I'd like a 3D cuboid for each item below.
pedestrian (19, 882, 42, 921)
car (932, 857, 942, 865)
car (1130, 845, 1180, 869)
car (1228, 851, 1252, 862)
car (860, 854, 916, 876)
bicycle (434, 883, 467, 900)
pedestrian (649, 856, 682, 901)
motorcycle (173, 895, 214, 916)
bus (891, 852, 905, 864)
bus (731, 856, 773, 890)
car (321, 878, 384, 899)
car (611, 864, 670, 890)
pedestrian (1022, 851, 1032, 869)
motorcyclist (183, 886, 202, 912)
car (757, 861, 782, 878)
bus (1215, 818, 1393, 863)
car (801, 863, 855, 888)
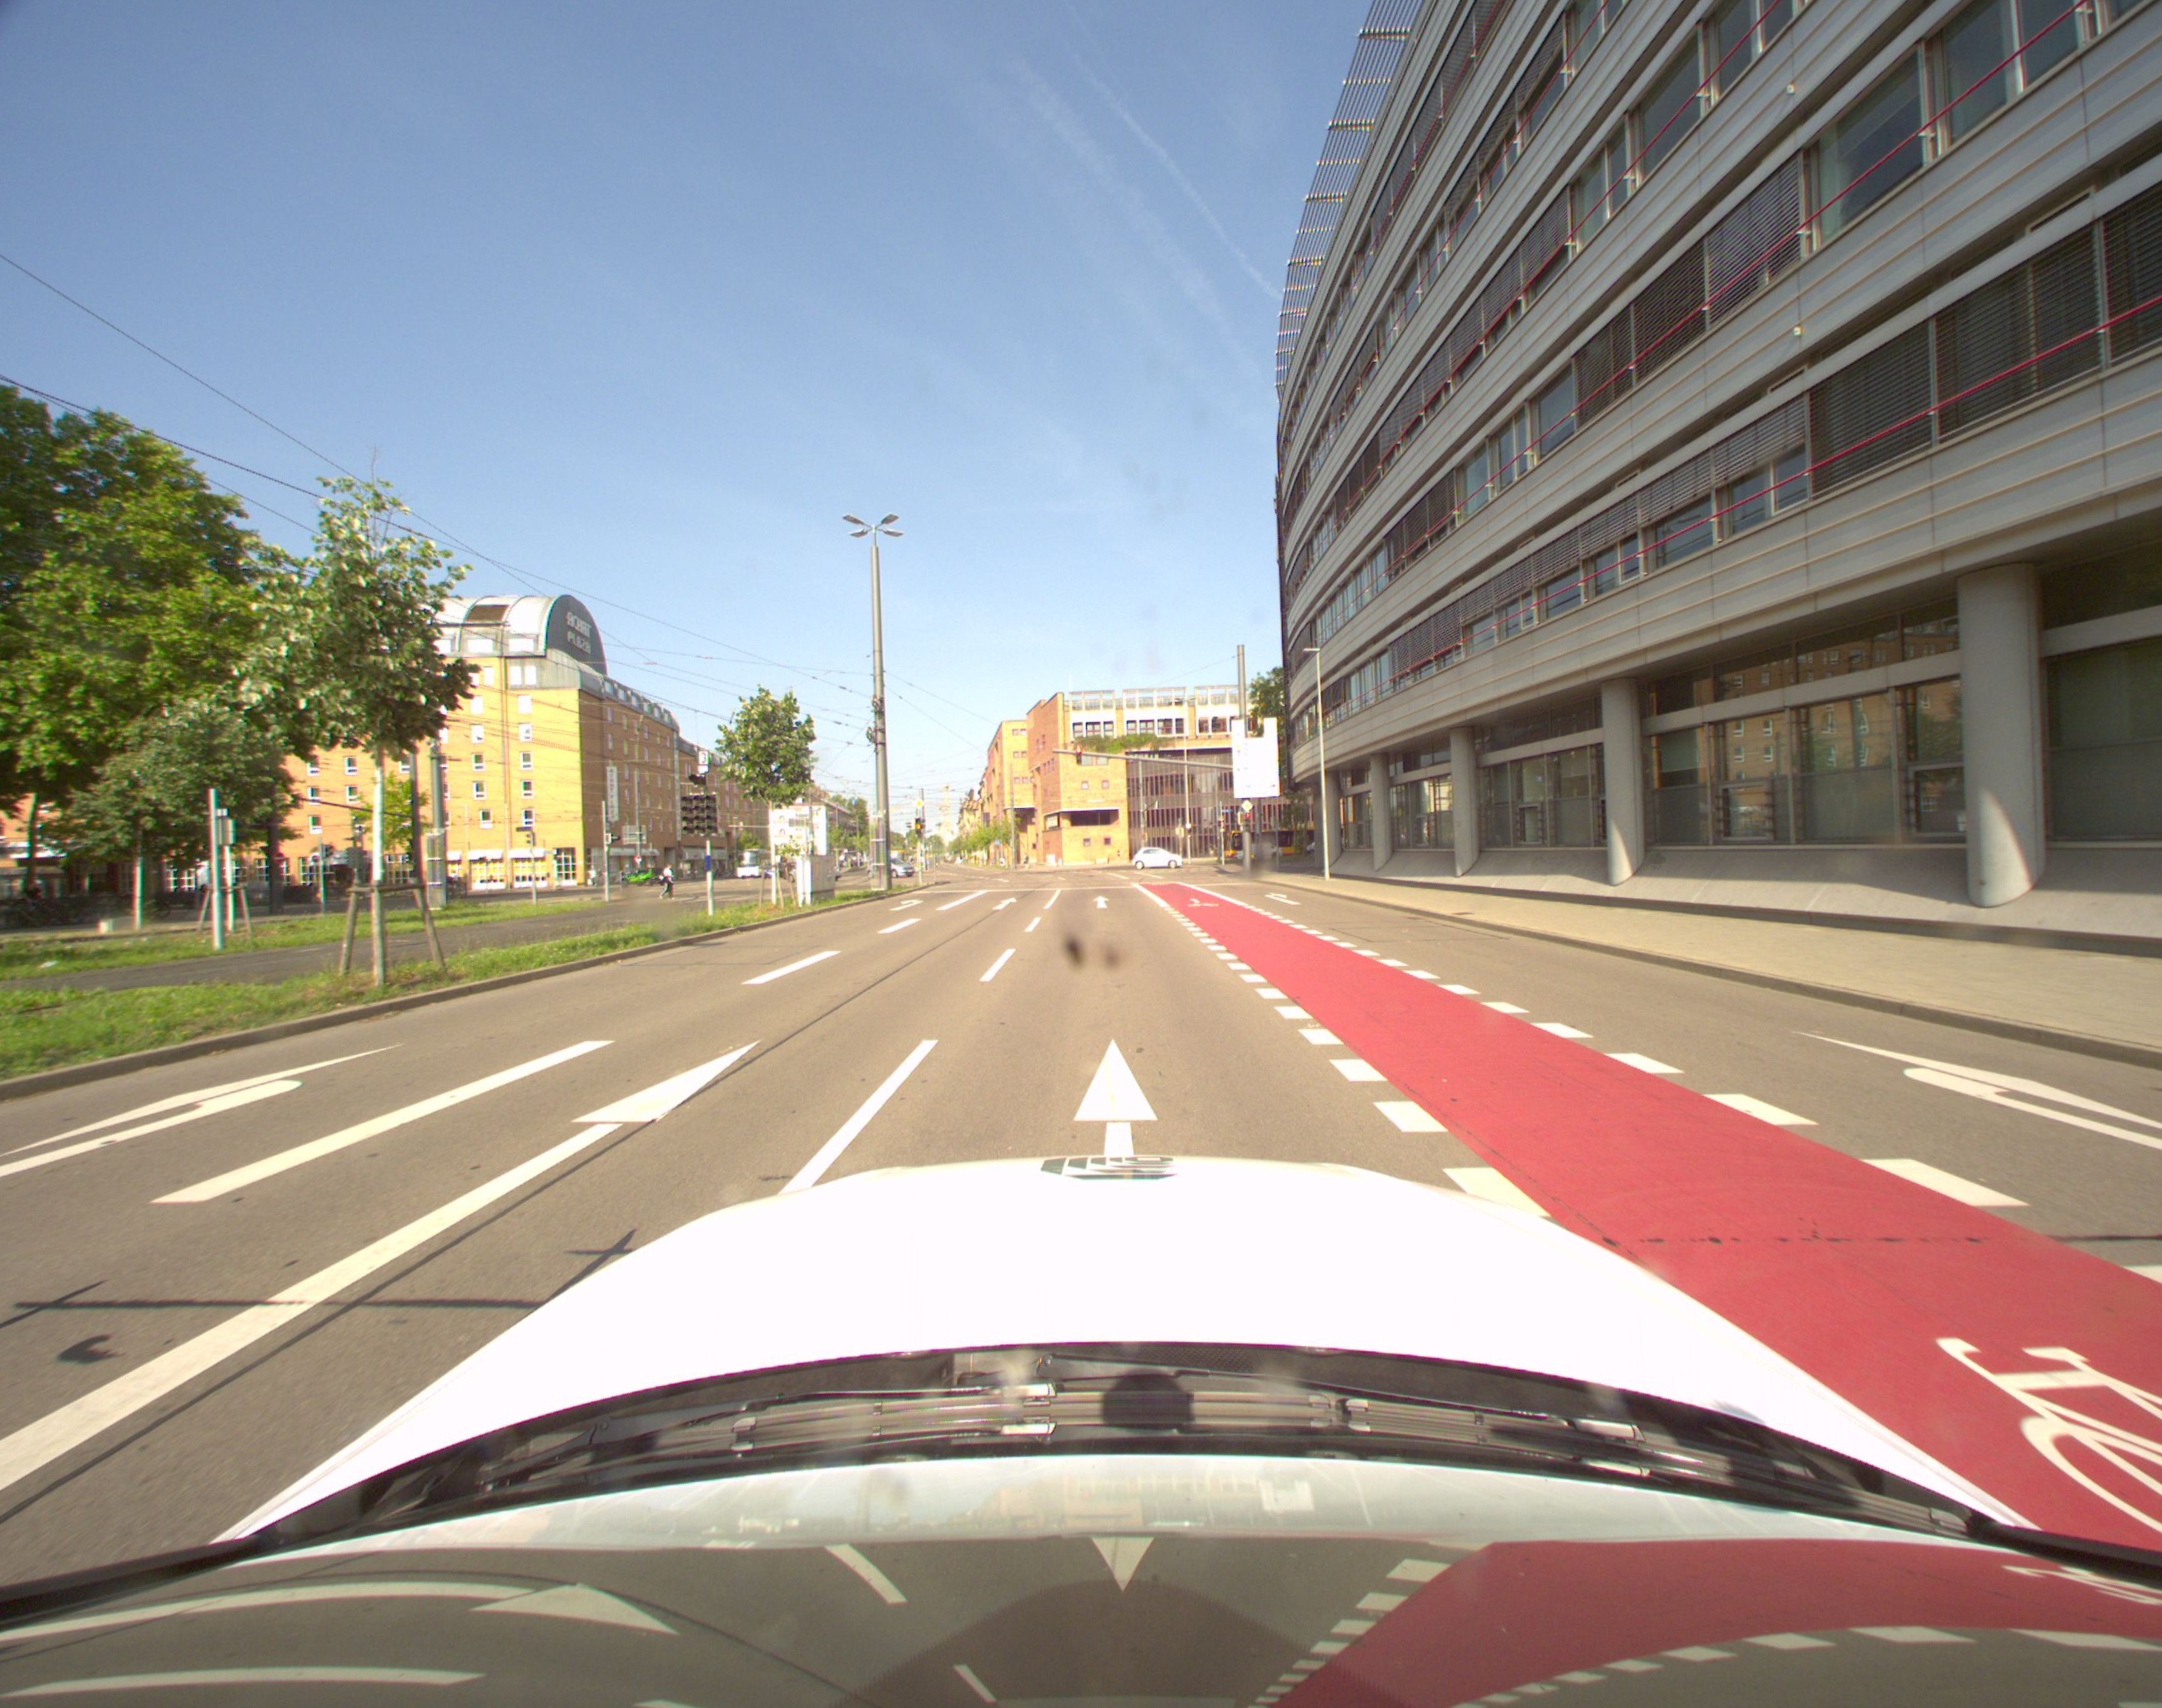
[{"bbox_3d":[-55.732,2.509,43.205,0.489,2.014,0.538,-2,-2,-7],"label":"pedestrian"},{"bbox_3d":[-33.334,1.664,188.729,2.075,1.542,4.396,-2,-1,-12],"label":"car"},{"bbox_3d":[5.198,0.236,57.173,3.419,1.542,1.738,-2,-1,6],"label":"car"},{"bbox_3d":[14.851,0.221,76.148,1.946,0.958,1.093,0,-2,-2],"label":"car"},{"bbox_3d":[-15.490,0.883,65.294,4.335,1.634,1.701,-2,2,31],"label":"car"},{"bbox_3d":[-47.076,2.793,60.818,0.546,1.206,2.290,-2,-1,5],"label":"bicycle"},{"bbox_3d":[-19.354,1.129,37.956,1.155,2.014,0.773,-2,-2,-10],"label":"pedestrian"},{"bbox_3d":[-47.679,2.760,43.746,1.688,0.995,0.283,-2,-2,-7],"label":"motorcycle"},{"bbox_3d":[-31.480,0.683,140.124,1.999,2.013,3.975,-2,0,-18],"label":"bus"},{"bbox_3d":[-41.559,2.410,103.276,2.748,3.921,12.165,-2,-1,-12],"label":"bus"},{"bbox_3d":[-62.800,2.961,70.258,3.606,1.623,1.864,-2,0,-5],"label":"car"},{"bbox_3d":[-36.595,1.918,67.702,3.959,2.014,2.007,-3,-1,13],"label":"car"},{"bbox_3d":[-6.244,0.673,94.365,0.834,2.013,0.814,-2,0,15],"label":"pedestrian"},{"bbox_3d":[-47.711,2.411,43.752,0.530,1.322,0.417,-2,-2,-7],"label":"motorcyclist"},{"bbox_3d":[-32.282,1.559,84.253,1.996,1.635,4.375,-2,0,-26],"label":"car"},{"bbox_3d":[22.352,-1.351,81.598,17.614,3.810,2.854,-2,-1,-11],"label":"bus"},{"bbox_3d":[-19.128,1.619,61.518,3.840,1.755,1.721,-3,-1,33],"label":"car"}]
